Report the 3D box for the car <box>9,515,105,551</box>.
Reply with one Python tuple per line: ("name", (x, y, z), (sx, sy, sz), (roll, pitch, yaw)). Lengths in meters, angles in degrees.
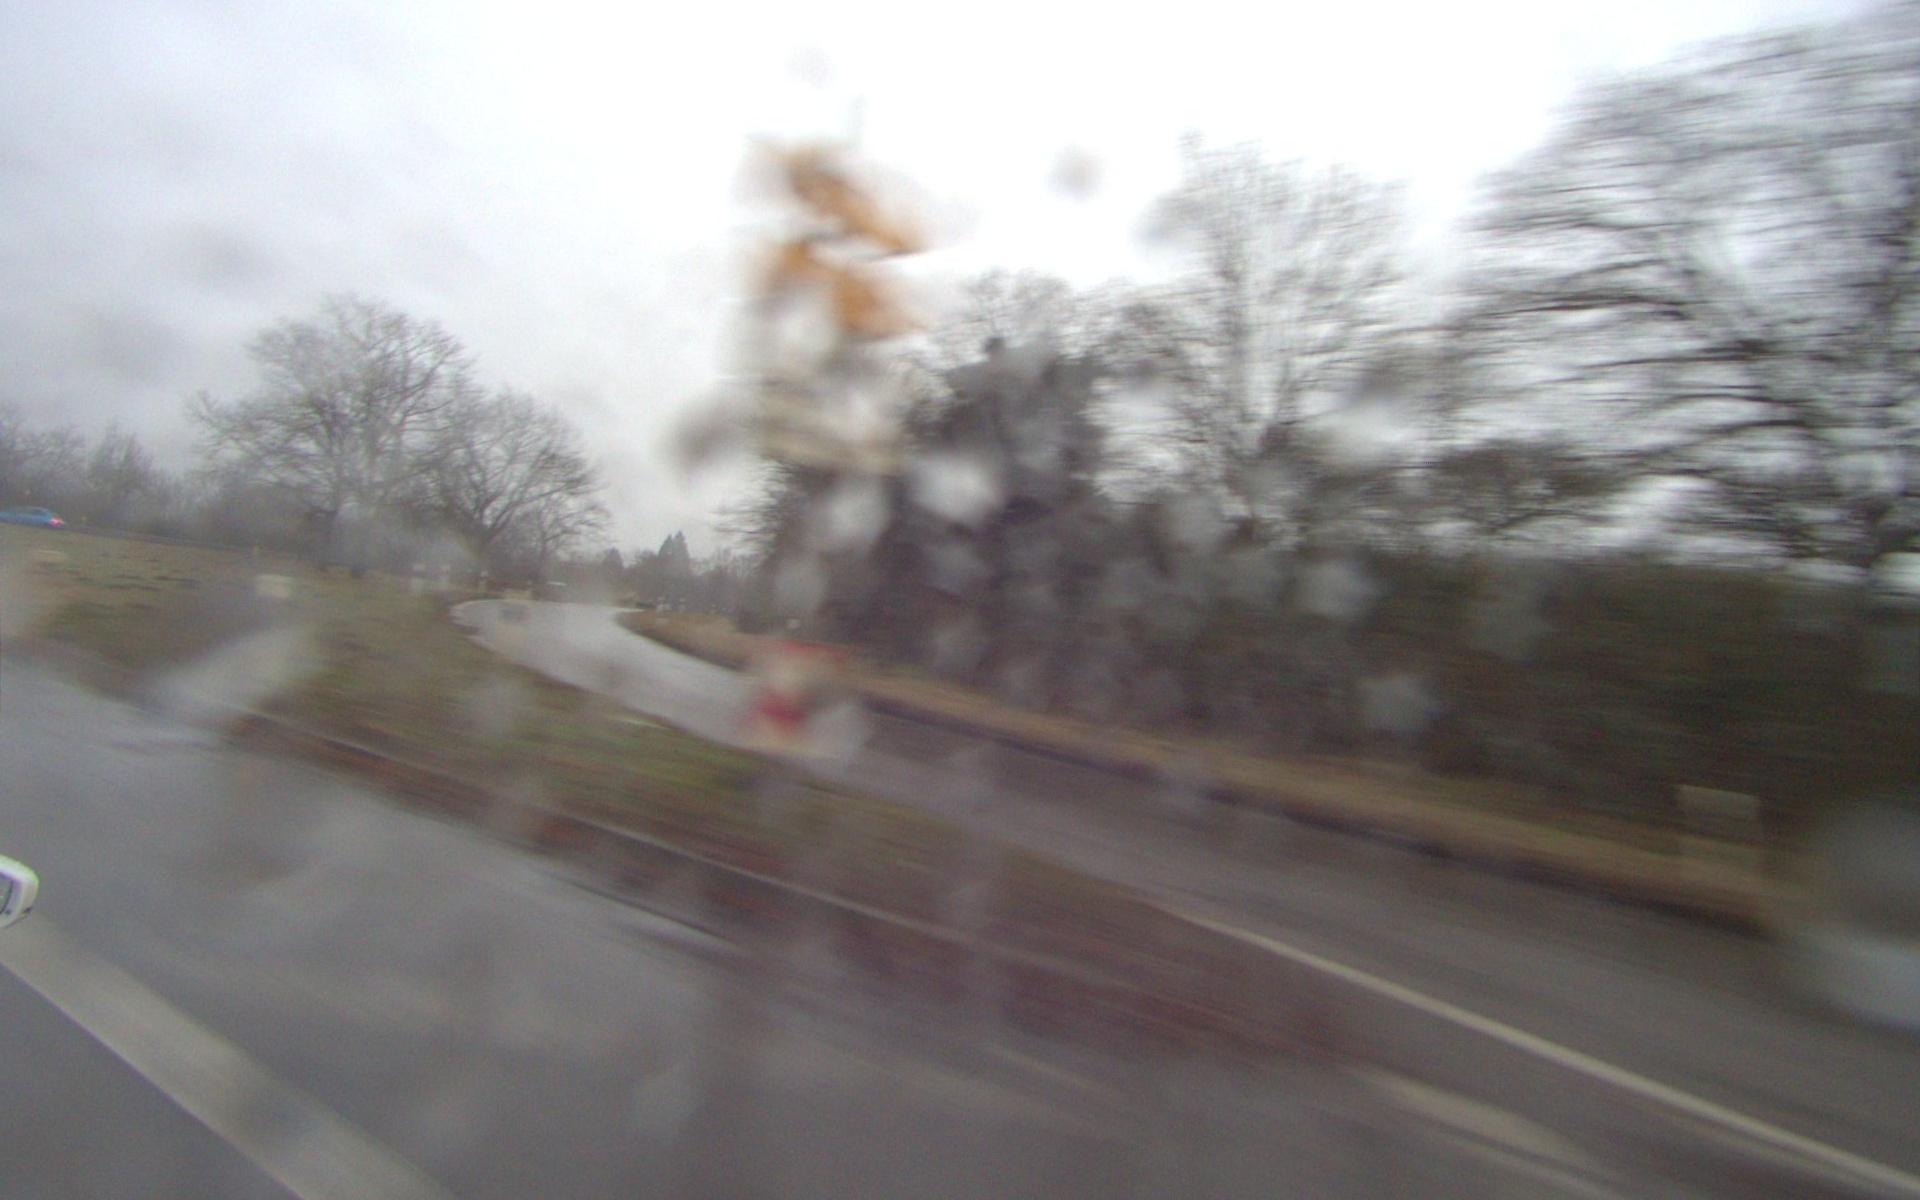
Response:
("car", (-55.371, -4.073, 61.765), (3.956, 1.564, 1.782), (7, -1, -30))
